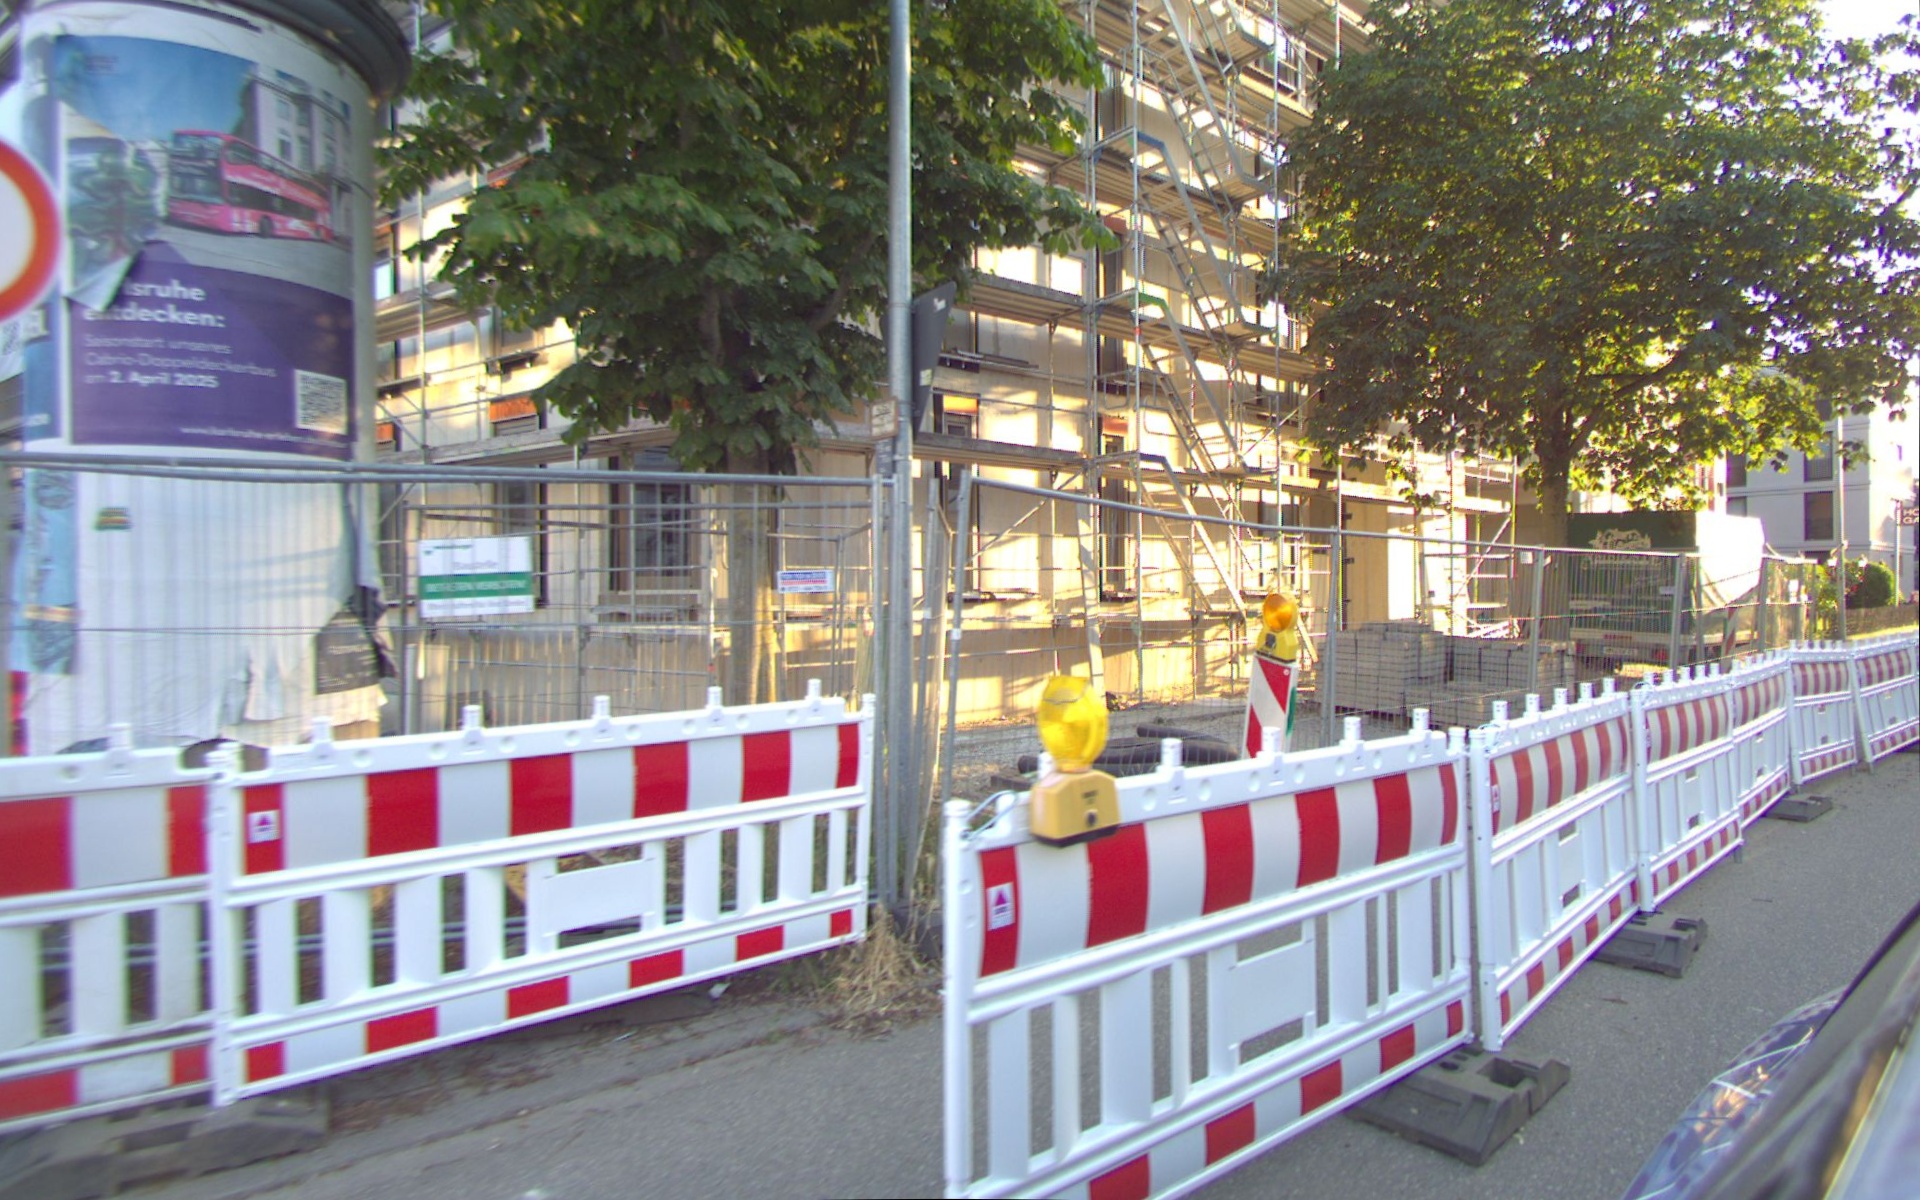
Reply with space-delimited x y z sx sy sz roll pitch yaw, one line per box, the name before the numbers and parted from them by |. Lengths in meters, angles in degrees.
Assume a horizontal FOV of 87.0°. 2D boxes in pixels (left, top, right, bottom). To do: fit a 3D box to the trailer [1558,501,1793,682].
trailer | 11.675 -0.135 16.442 4.109 2.572 1.998 0 0 -38
